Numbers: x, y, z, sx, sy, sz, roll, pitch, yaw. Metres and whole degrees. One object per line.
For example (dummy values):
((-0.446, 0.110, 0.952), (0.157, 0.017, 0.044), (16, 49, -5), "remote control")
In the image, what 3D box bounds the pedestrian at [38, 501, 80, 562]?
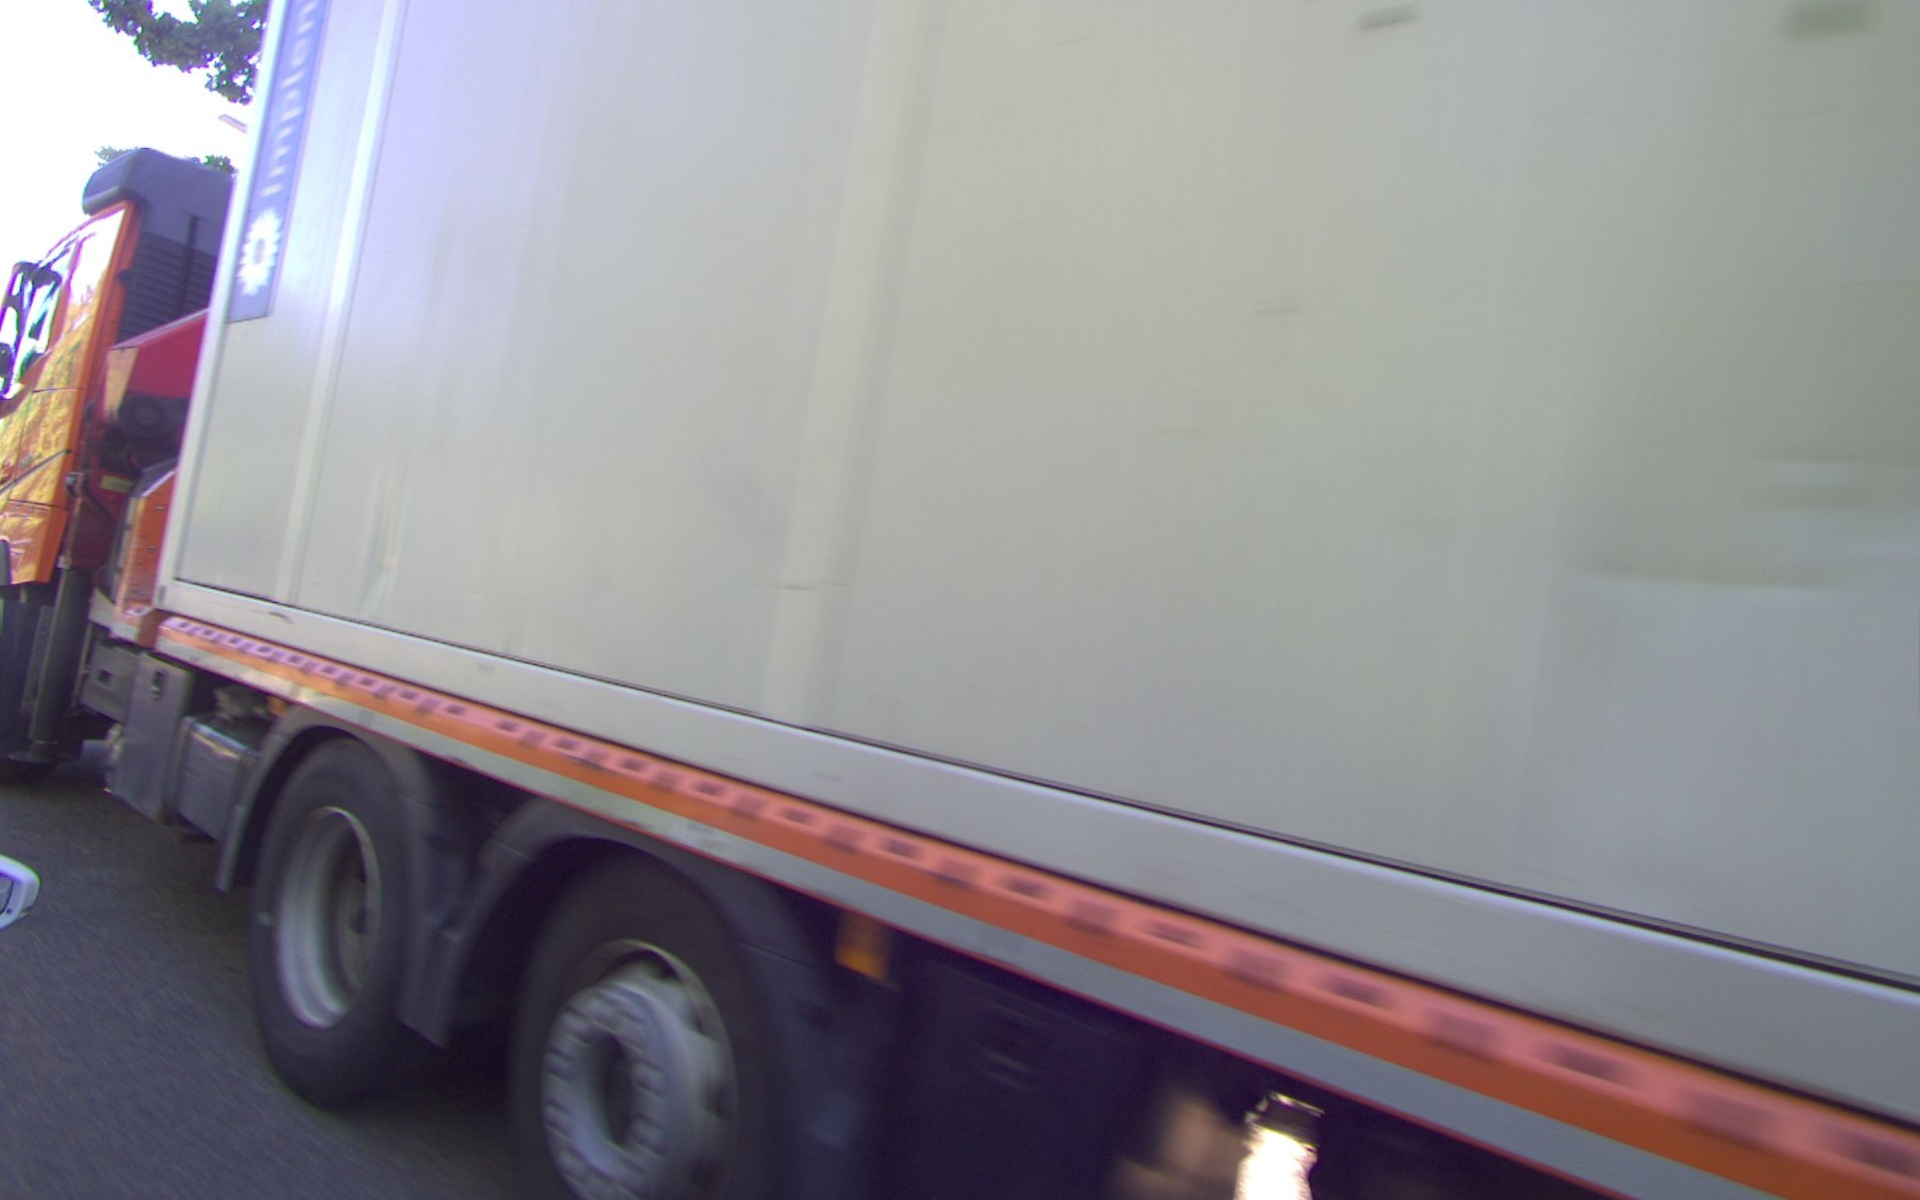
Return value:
((-26.773, -2.030, 29.897), (0.505, 1.701, 0.571), (8, -2, 26), "pedestrian")

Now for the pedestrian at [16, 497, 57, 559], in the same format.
((-26.807, -2.088, 29.210), (0.505, 1.701, 0.571), (8, -2, 32), "pedestrian")

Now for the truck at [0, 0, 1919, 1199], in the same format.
((-1.533, -0.539, 4.444), (10.191, 4.037, 2.778), (7, -4, 37), "truck")
